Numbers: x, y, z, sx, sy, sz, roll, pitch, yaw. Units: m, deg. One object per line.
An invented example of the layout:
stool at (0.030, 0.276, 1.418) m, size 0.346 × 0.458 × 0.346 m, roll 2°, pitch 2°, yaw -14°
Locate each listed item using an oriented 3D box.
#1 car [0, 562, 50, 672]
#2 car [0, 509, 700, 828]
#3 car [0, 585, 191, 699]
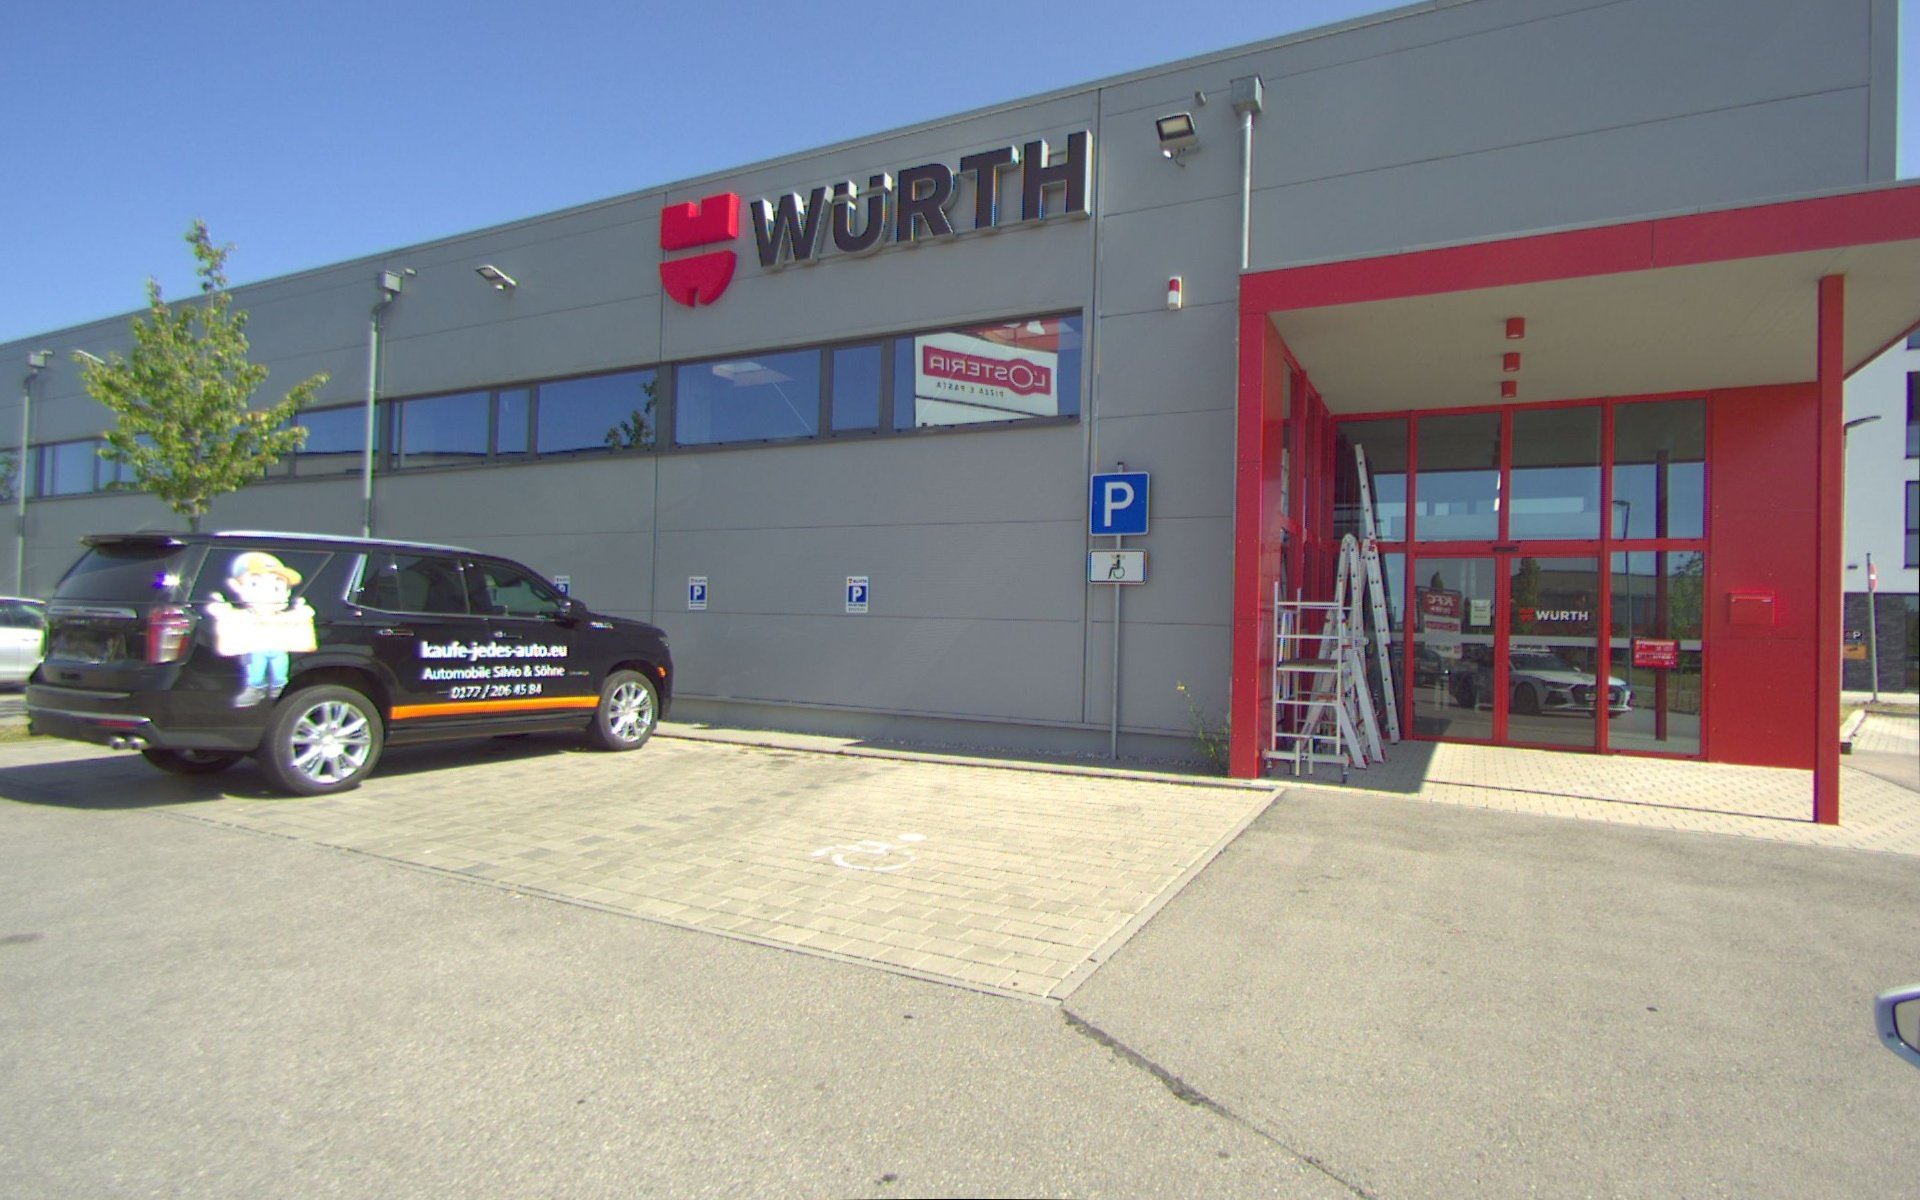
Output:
car at (-19.264, 0.264, 17.933) m, size 1.962 × 2.040 × 3.997 m, roll 1°, pitch -1°, yaw 24°
car at (-4.966, 0.481, 9.049) m, size 1.994 × 1.964 × 5.374 m, roll 1°, pitch -1°, yaw 27°
car at (-14.352, 0.603, 15.144) m, size 1.749 × 1.638 × 3.994 m, roll 1°, pitch -1°, yaw 28°
